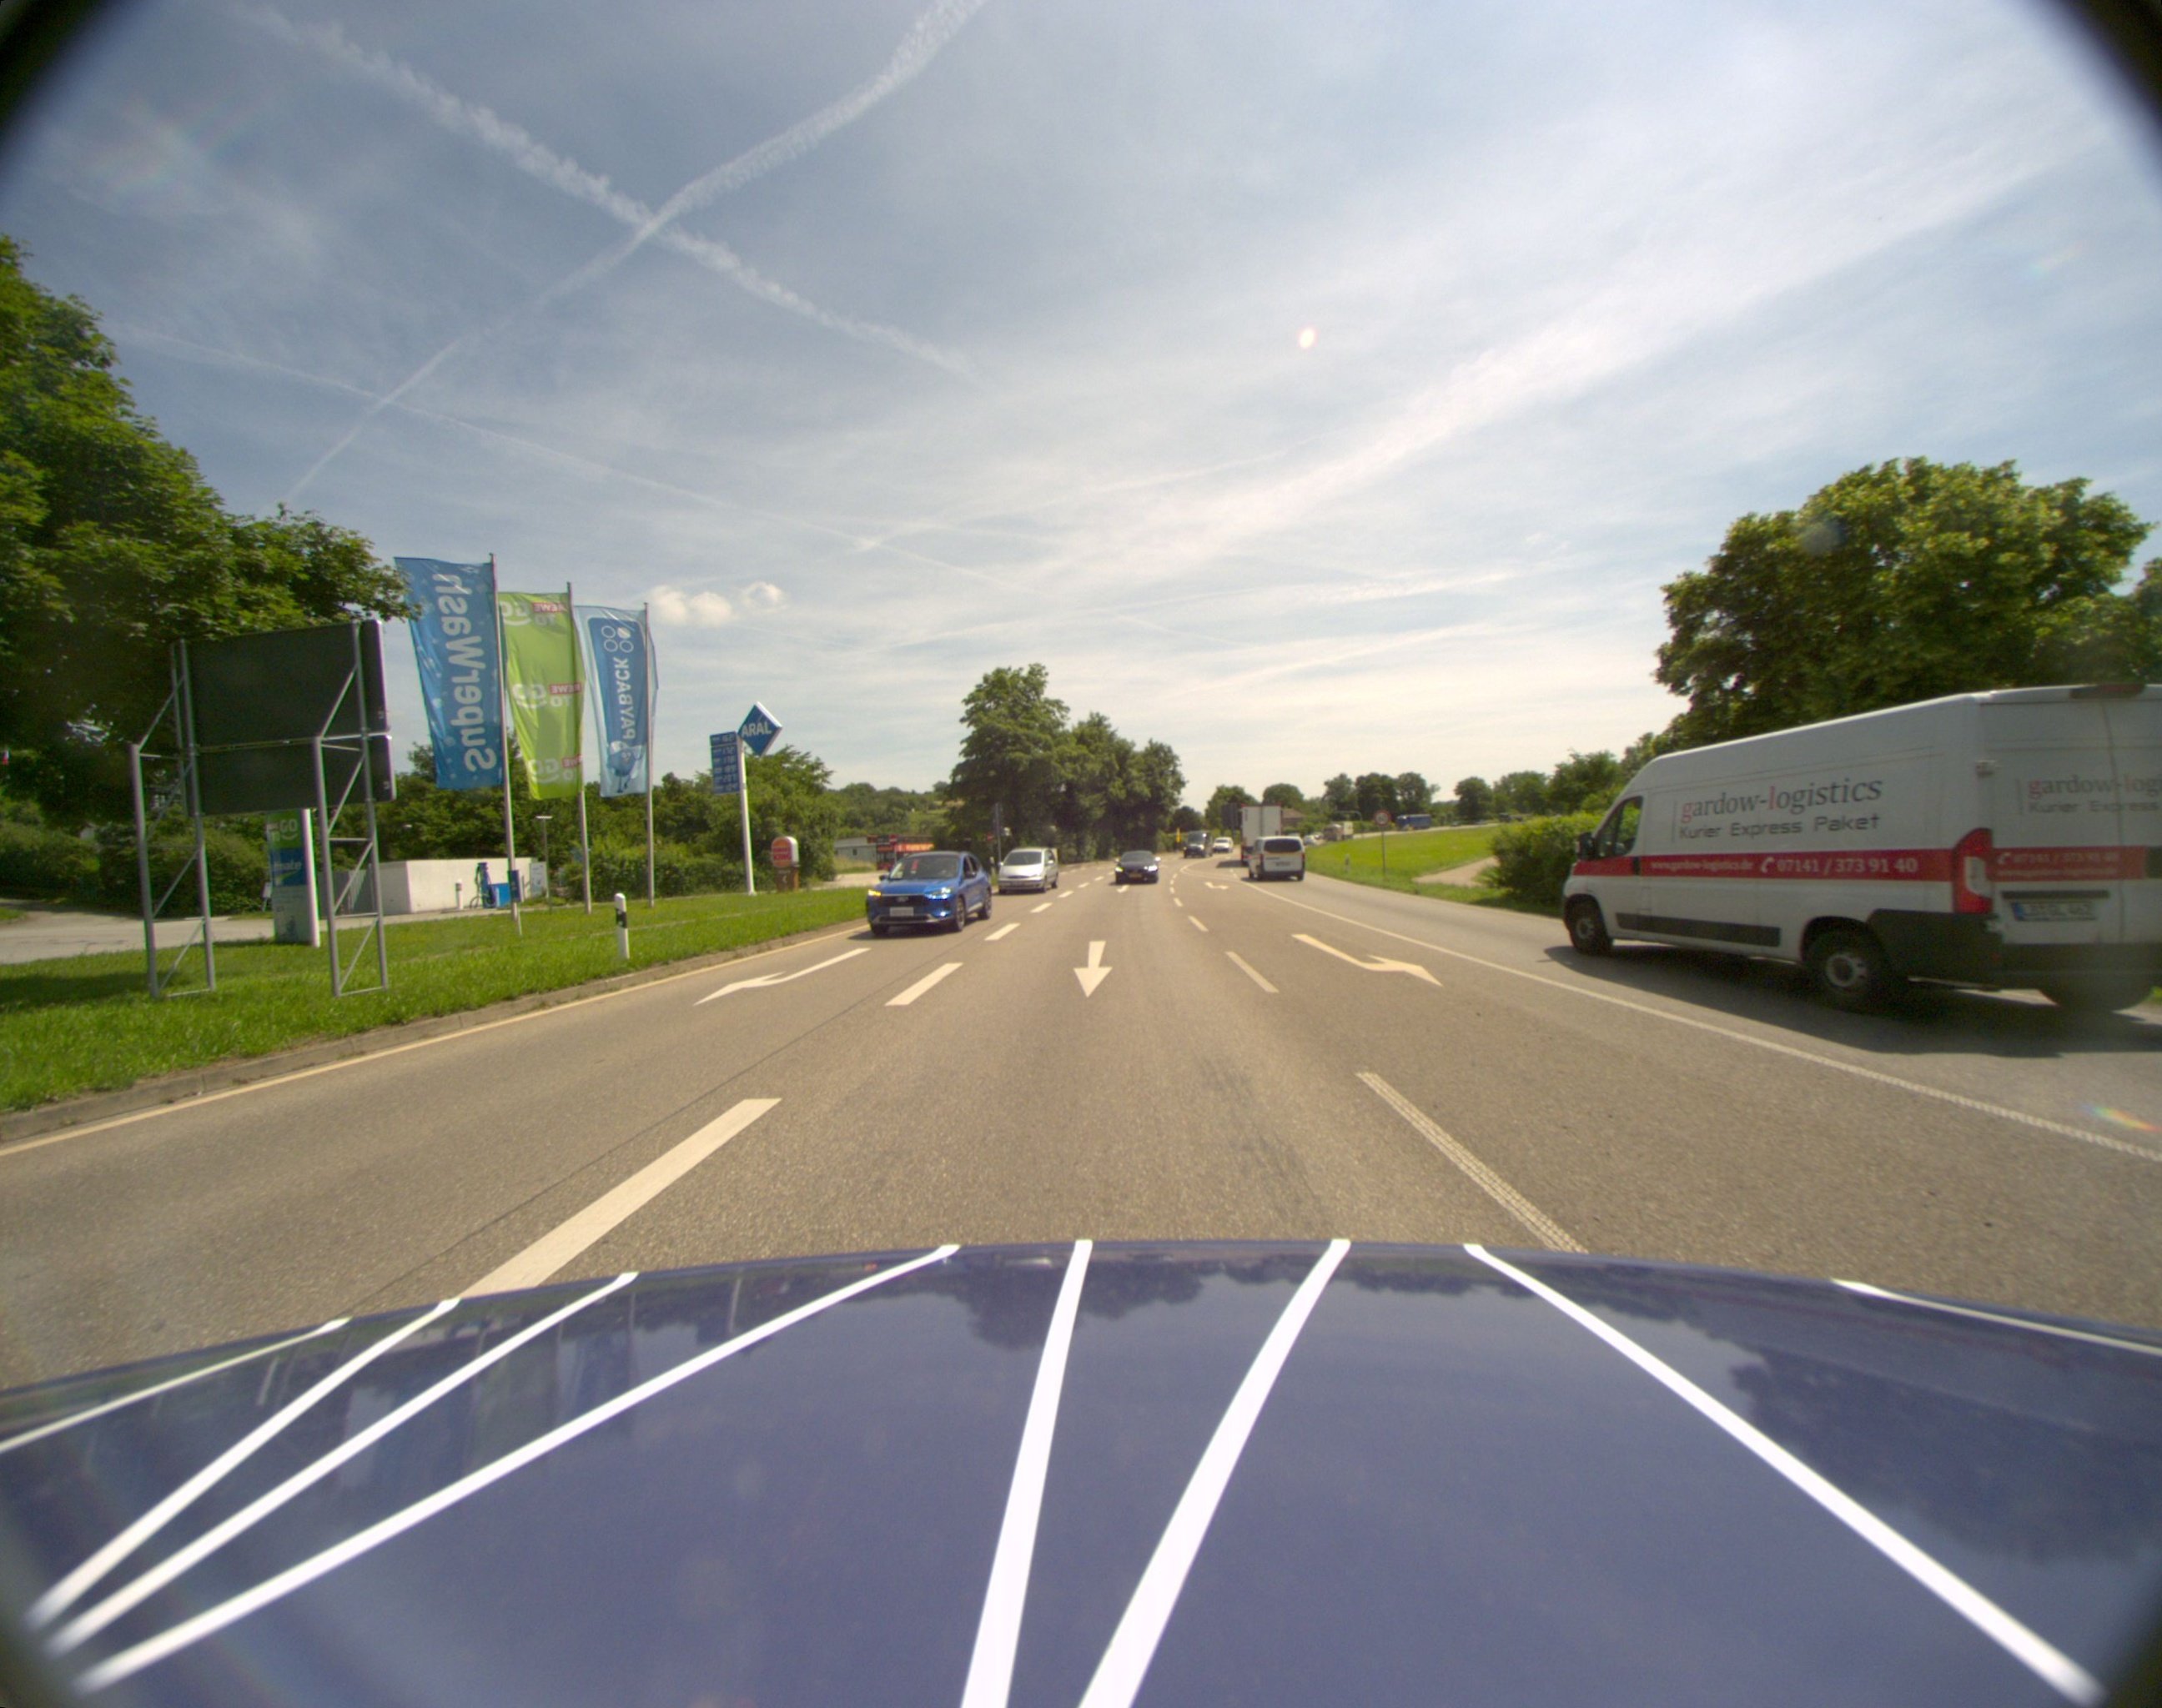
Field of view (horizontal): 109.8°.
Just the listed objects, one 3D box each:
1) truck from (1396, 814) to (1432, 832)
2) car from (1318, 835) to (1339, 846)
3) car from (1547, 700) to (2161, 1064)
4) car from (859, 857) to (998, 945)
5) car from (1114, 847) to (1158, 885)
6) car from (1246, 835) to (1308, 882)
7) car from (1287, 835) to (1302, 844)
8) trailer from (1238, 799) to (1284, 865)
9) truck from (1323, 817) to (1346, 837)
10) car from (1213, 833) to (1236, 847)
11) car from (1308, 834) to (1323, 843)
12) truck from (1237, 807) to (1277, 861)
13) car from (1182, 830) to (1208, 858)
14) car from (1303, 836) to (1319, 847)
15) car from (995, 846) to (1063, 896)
[{"bbox_3d":[89.164,-8.361,203.144,16.189,4.583,2.738,-4,2,-44],"label":"truck"},{"bbox_3d":[36.206,-1.957,111.211,1.617,1.454,4.007,0,2,39],"label":"car"},{"bbox_3d":[7.261,0.188,7.721,2.056,2.437,5.269,-1,0,3],"label":"car"},{"bbox_3d":[-3.187,0.921,16.841,1.782,1.549,4.389,-2,1,5],"label":"car"},{"bbox_3d":[2.445,0.472,33.445,1.782,1.484,4.158,-2,1,5],"label":"car"},{"bbox_3d":[8.439,0.157,33.107,1.877,1.854,5.143,-1,0,7],"label":"car"},{"bbox_3d":[39.872,-2.676,141.689,1.806,1.722,4.007,-2,0,29],"label":"car"},{"bbox_3d":[12.464,-1.477,53.408,2.782,4.078,11.668,0,1,12],"label":"trailer"},{"bbox_3d":[46.564,-4.980,139.258,2.970,3.550,6.908,-1,2,27],"label":"truck"},{"bbox_3d":[16.790,-1.626,88.741,1.780,1.484,4.163,-1,2,24],"label":"car"},{"bbox_3d":[47.117,-3.072,152.671,1.806,1.722,4.007,-2,0,30],"label":"car"},{"bbox_3d":[13.622,-1.532,59.124,2.782,3.921,5.709,0,1,11],"label":"truck"},{"bbox_3d":[10.883,-0.963,72.600,1.980,2.505,4.157,-2,2,3],"label":"car"},{"bbox_3d":[34.955,-1.925,115.289,1.617,1.454,3.476,-1,2,28],"label":"car"},{"bbox_3d":[-1.946,0.598,29.822,1.864,1.682,4.527,-2,1,6],"label":"car"}]
